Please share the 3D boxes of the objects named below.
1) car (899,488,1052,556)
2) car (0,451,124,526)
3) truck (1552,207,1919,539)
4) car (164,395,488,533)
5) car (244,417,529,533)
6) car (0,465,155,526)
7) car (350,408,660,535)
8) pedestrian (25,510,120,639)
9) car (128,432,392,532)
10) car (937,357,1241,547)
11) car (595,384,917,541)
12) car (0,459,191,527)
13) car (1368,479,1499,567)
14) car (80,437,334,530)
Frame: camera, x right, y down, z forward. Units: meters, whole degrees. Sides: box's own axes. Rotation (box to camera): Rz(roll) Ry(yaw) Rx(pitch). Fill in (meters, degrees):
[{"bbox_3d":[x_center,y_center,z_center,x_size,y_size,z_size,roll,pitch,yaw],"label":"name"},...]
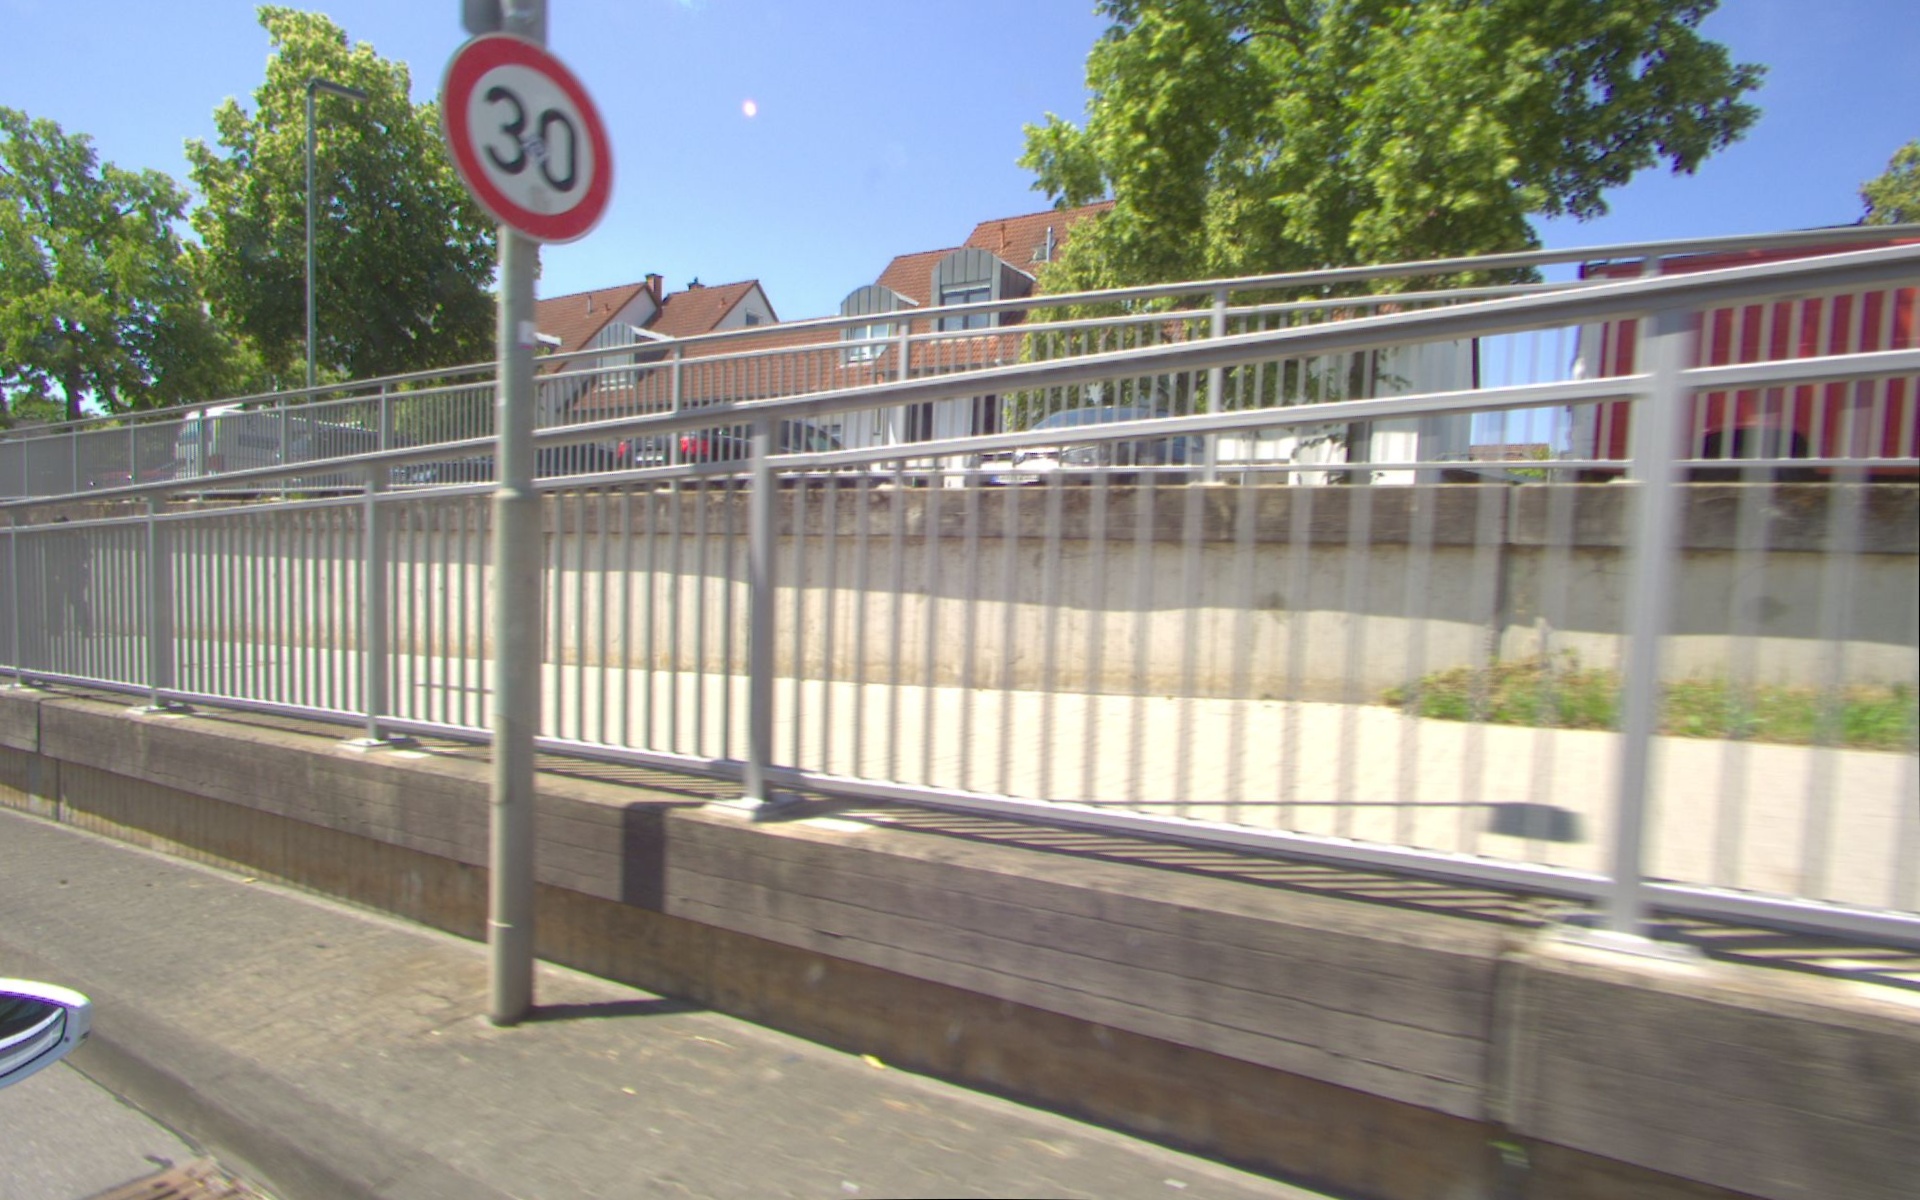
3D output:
[{"bbox_3d":[0.490,-1.853,24.735,1.732,1.511,4.394,3,4,33],"label":"car"},{"bbox_3d":[-26.600,-3.179,28.581,1.662,1.911,3.896,3,2,33],"label":"car"},{"bbox_3d":[7.984,-1.752,8.281,5.182,2.366,2.128,3,2,32],"label":"truck"},{"bbox_3d":[-12.305,-2.514,19.835,1.960,2.092,5.099,3,2,33],"label":"car"},{"bbox_3d":[-10.200,-2.142,18.130,1.662,1.618,4.194,3,2,33],"label":"car"},{"bbox_3d":[-24.606,-2.814,27.249,1.662,1.386,3.896,3,2,33],"label":"car"},{"bbox_3d":[-7.113,-1.924,16.079,1.723,1.519,4.275,3,2,33],"label":"car"},{"bbox_3d":[-12.877,-0.360,14.531,0.777,1.806,0.834,1,1,33],"label":"pedestrian"},{"bbox_3d":[-14.335,-2.345,20.749,1.662,1.618,4.194,3,2,33],"label":"car"},{"bbox_3d":[1.594,-1.433,11.015,1.723,1.519,3.977,3,2,33],"label":"car"},{"bbox_3d":[-2.478,-1.635,13.149,1.662,1.519,4.194,3,2,33],"label":"car"},{"bbox_3d":[-22.584,-2.706,25.947,1.662,1.386,3.896,3,2,33],"label":"car"},{"bbox_3d":[9.195,-1.422,19.288,1.732,1.499,3.926,3,4,33],"label":"car"},{"bbox_3d":[-16.486,-2.467,22.148,1.662,1.618,4.194,3,2,33],"label":"car"}]
